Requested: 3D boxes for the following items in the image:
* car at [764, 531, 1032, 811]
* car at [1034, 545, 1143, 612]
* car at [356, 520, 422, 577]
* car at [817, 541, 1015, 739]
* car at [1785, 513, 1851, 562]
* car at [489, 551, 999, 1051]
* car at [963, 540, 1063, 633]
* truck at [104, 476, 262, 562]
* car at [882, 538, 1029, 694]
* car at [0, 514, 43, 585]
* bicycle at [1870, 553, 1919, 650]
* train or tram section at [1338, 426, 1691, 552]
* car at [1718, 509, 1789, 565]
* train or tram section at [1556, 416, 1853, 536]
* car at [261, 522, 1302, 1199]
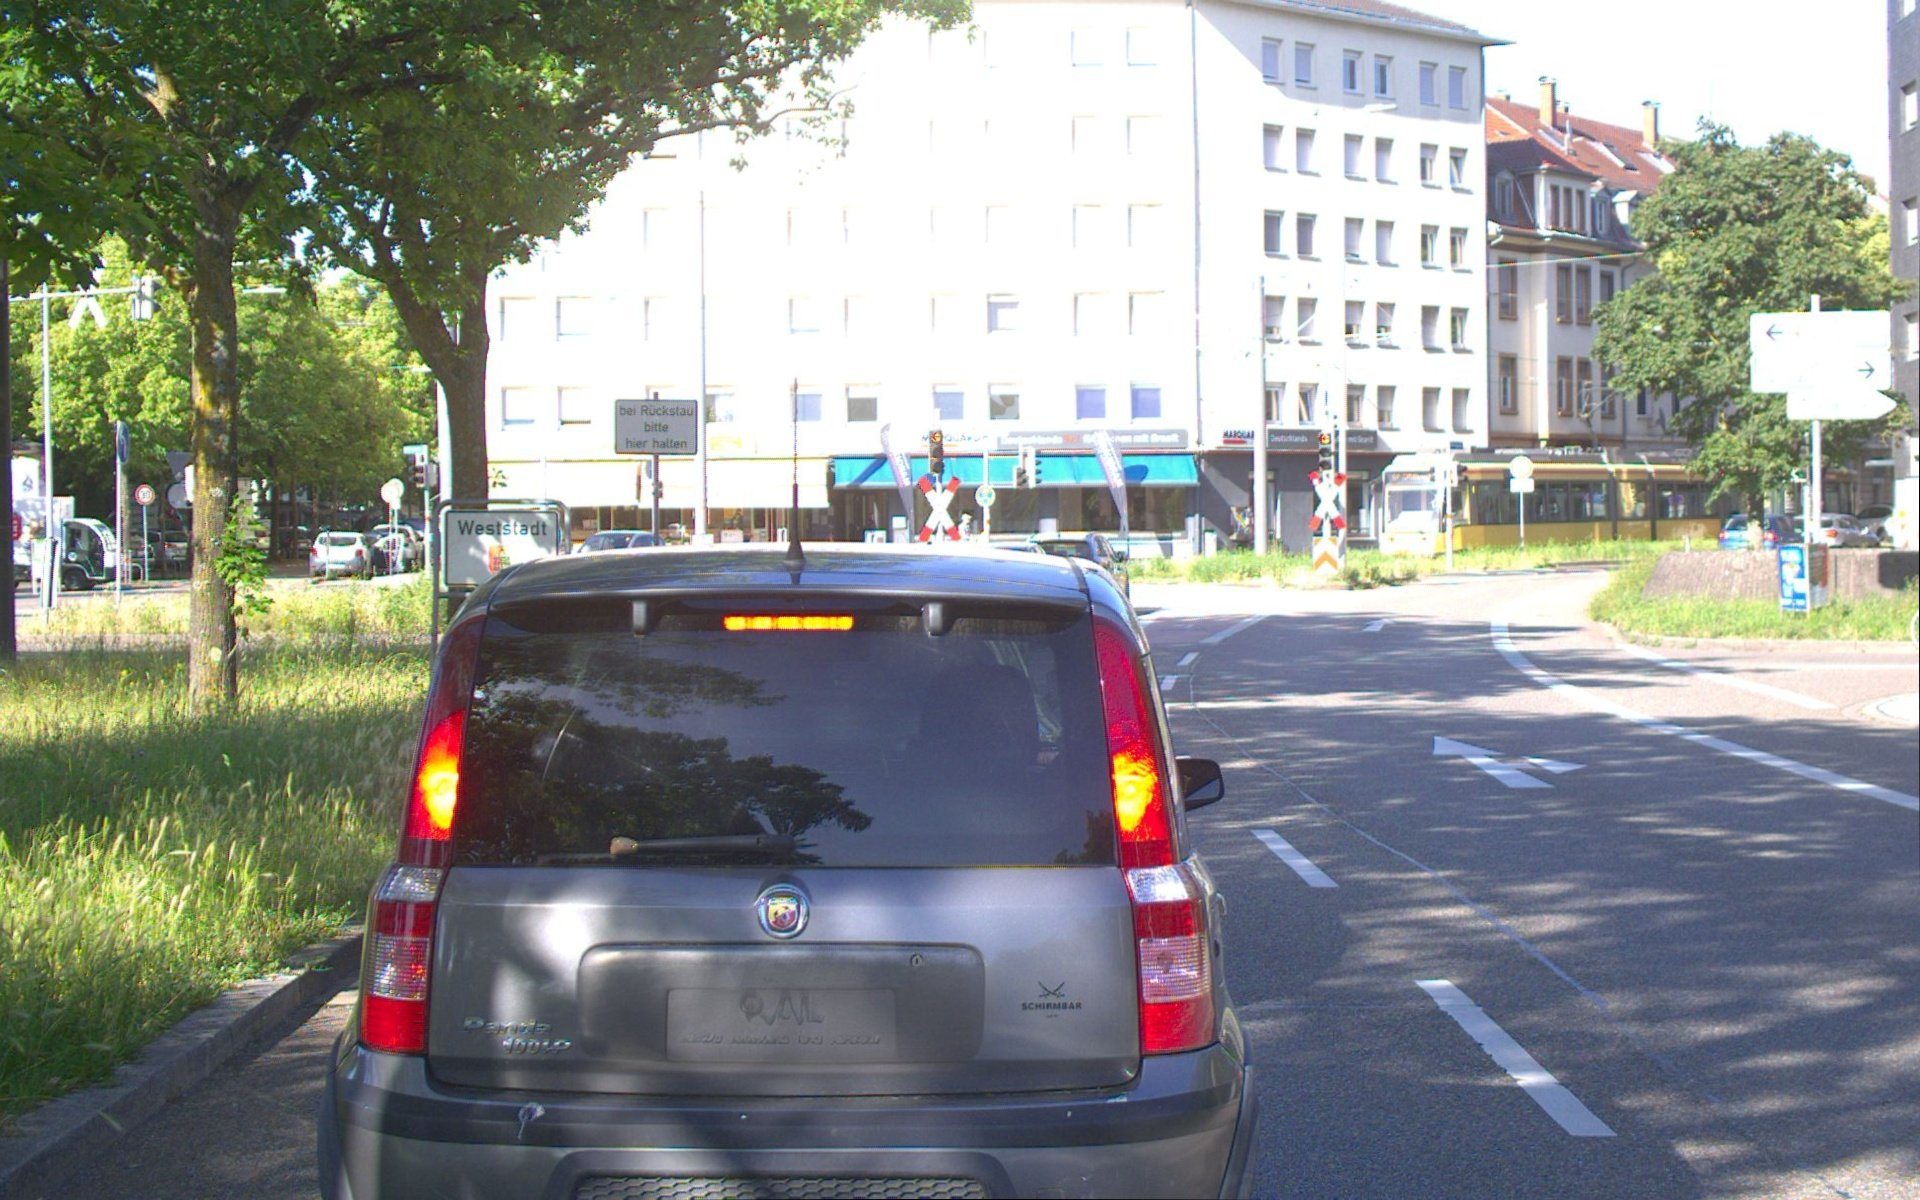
[{"bbox_3d":[-0.360,0.355,20.685,1.463,1.503,3.505,0,2,-1],"label":"car"},{"bbox_3d":[2.171,-0.371,57.675,1.143,1.060,2.719,0,1,17],"label":"car"},{"bbox_3d":[-20.514,-1.870,123.589,1.993,2.007,4.001,-1,1,-4],"label":"car"},{"bbox_3d":[-0.345,0.268,27.254,1.463,1.420,3.381,0,2,-1],"label":"car"},{"bbox_3d":[23.450,-1.721,93.887,1.528,1.310,3.285,0,2,18],"label":"car"},{"bbox_3d":[-0.642,0.559,11.645,1.463,1.396,3.393,0,1,-1],"label":"car"},{"bbox_3d":[0.749,-0.213,49.601,1.356,1.277,2.876,0,1,-1],"label":"car"},{"bbox_3d":[-28.879,-2.994,127.779,5.485,3.158,2.340,0,1,28],"label":"truck"},{"bbox_3d":[-0.060,0.122,33.868,1.356,1.444,3.266,-1,1,-1],"label":"car"},{"bbox_3d":[-28.542,-1.432,98.260,4.176,2.007,1.932,-1,1,-2],"label":"car"},{"bbox_3d":[12.587,0.033,42.523,2.514,1.194,0.710,1,0,20],"label":"bicycle"},{"bbox_3d":[17.241,-3.343,104.515,3.301,3.501,19.350,0,2,32],"label":"train or tram section"},{"bbox_3d":[20.881,-1.663,90.395,1.683,1.444,3.569,0,1,15],"label":"car"},{"bbox_3d":[25.983,-4.196,118.384,3.301,3.757,20.773,0,2,31],"label":"train or tram section"},{"bbox_3d":[-0.299,0.597,7.424,1.628,1.503,4.000,-1,1,-1],"label":"car"}]
